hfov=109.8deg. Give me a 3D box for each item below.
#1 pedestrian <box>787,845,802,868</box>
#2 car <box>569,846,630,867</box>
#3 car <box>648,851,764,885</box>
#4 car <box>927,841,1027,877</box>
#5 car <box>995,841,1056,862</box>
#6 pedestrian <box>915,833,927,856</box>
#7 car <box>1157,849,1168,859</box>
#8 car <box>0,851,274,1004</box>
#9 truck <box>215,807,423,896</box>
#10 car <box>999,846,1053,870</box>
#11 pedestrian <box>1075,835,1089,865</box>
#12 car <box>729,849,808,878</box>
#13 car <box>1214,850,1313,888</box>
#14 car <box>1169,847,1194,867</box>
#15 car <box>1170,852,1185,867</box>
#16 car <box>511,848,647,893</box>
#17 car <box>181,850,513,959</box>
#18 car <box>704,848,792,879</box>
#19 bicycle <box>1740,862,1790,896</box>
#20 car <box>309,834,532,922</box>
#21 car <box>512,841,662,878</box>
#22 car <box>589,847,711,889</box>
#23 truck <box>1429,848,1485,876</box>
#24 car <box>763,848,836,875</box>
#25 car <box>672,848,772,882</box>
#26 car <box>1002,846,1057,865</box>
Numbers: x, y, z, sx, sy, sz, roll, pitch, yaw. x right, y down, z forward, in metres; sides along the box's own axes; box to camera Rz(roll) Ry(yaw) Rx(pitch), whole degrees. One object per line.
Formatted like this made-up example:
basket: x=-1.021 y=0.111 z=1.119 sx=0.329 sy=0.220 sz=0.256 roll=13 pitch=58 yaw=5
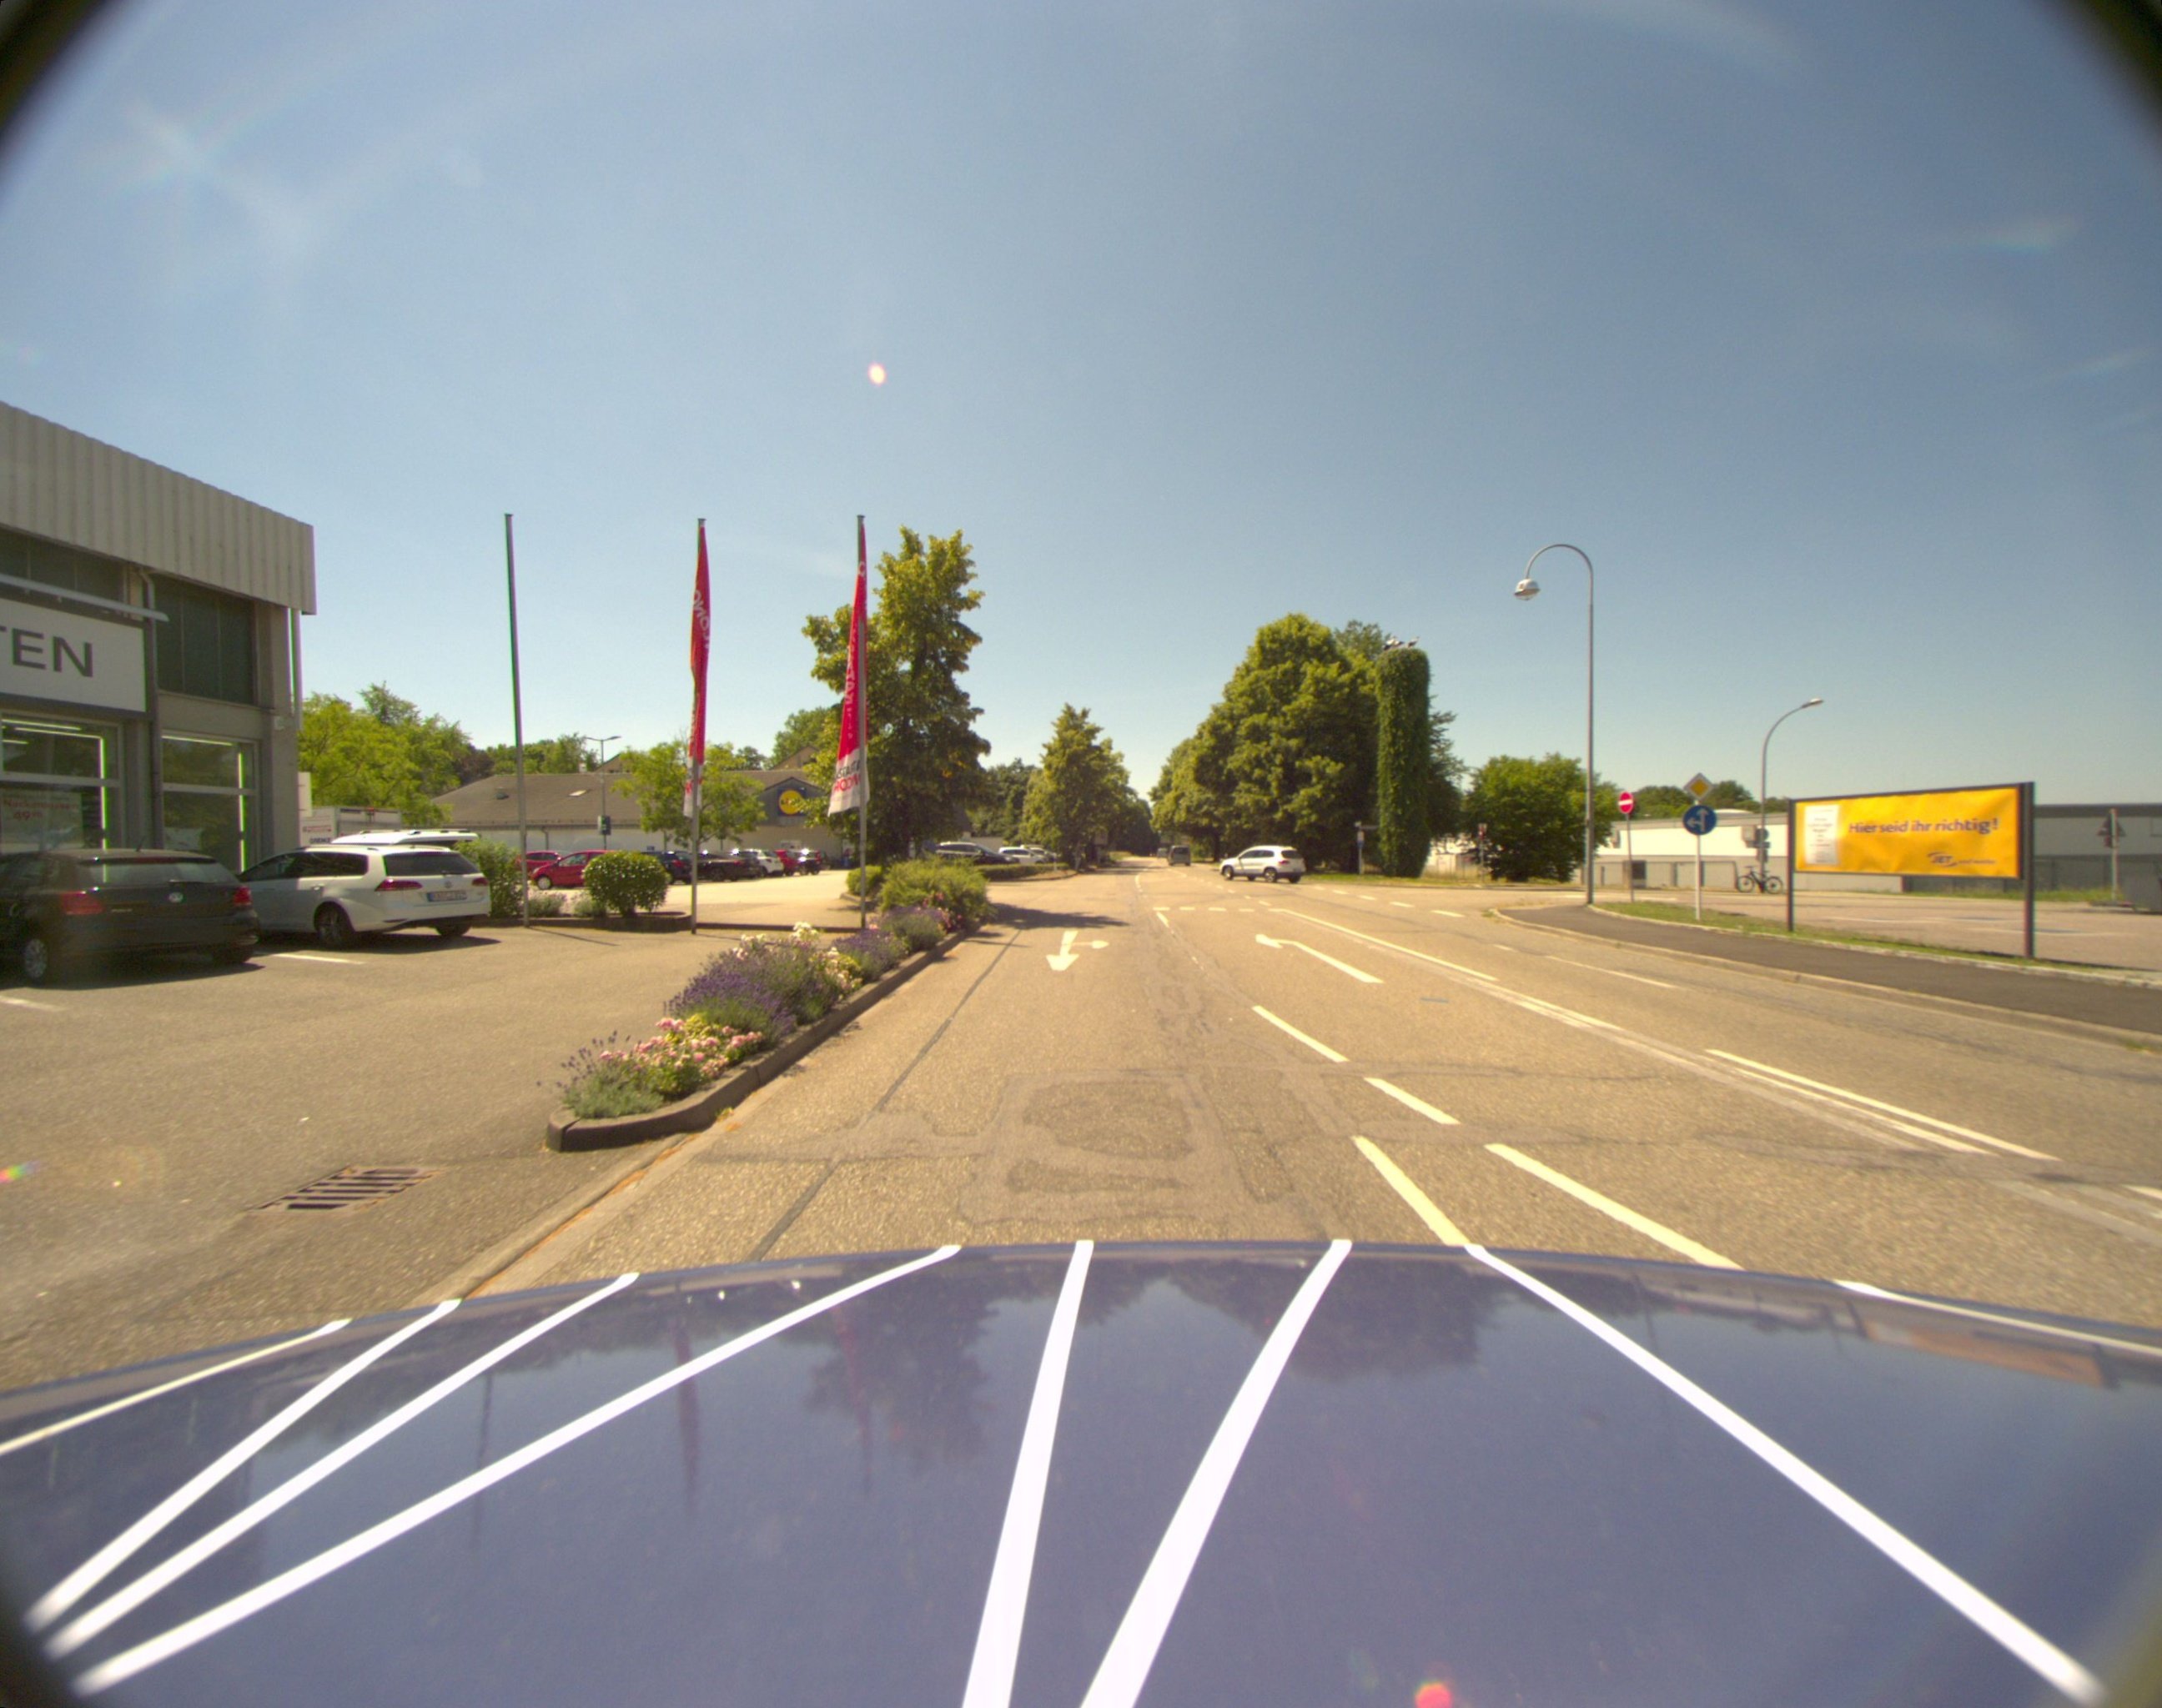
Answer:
pedestrian: x=-19.826 y=0.187 z=52.609 sx=0.803 sy=1.543 sz=0.558 roll=-1 pitch=2 yaw=2
car: x=-35.460 y=0.170 z=56.076 sx=1.999 sy=1.543 sz=3.999 roll=0 pitch=1 yaw=-1
car: x=-16.891 y=0.606 z=34.343 sx=4.253 sy=1.383 sz=1.901 roll=-1 pitch=2 yaw=0
car: x=-5.140 y=0.222 z=37.834 sx=4.523 sy=1.658 sz=1.895 roll=-1 pitch=1 yaw=7
car: x=-4.034 y=-0.210 z=55.514 sx=4.321 sy=1.472 sz=1.809 roll=-1 pitch=1 yaw=0
pedestrian: x=-12.117 y=-0.747 z=57.525 sx=0.699 sy=1.744 sz=0.785 roll=-1 pitch=2 yaw=5
car: x=15.610 y=-0.012 z=145.232 sx=1.882 sy=1.823 sz=5.299 roll=0 pitch=1 yaw=4
car: x=-12.112 y=0.754 z=9.160 sx=3.859 sy=1.524 sz=1.680 roll=0 pitch=2 yaw=17
truck: x=-26.936 y=-0.070 z=26.919 sx=5.942 sy=2.932 sz=2.425 roll=0 pitch=1 yaw=14
car: x=-3.624 y=0.261 z=50.443 sx=3.406 sy=1.498 sz=1.582 roll=-1 pitch=1 yaw=1
pedestrian: x=0.074 y=-0.233 z=46.112 sx=0.730 sy=1.779 sz=0.621 roll=-1 pitch=2 yaw=12
car: x=-17.311 y=0.490 z=42.164 sx=3.605 sy=1.449 sz=1.746 roll=-2 pitch=1 yaw=3
car: x=8.571 y=0.666 z=35.945 sx=1.979 sy=1.663 sz=4.236 roll=-1 pitch=1 yaw=-37
car: x=9.013 y=0.248 z=68.369 sx=1.800 sy=1.762 sz=4.364 roll=0 pitch=1 yaw=2
car: x=12.272 y=0.620 z=96.378 sx=1.826 sy=1.771 sz=4.784 roll=1 pitch=1 yaw=9
car: x=-19.126 y=0.605 z=29.084 sx=3.998 sy=1.523 sz=1.651 roll=-2 pitch=2 yaw=-2
car: x=-11.251 y=0.694 z=11.735 sx=3.992 sy=1.452 sz=1.807 roll=0 pitch=2 yaw=14
car: x=-17.368 y=0.490 z=39.781 sx=3.731 sy=1.495 sz=1.819 roll=-2 pitch=1 yaw=3
bicycle: x=28.357 y=1.029 z=31.497 sx=1.539 sy=1.341 sz=0.395 roll=0 pitch=2 yaw=9
car: x=-15.989 y=0.473 z=18.756 sx=1.710 sy=1.880 sz=4.255 roll=-1 pitch=2 yaw=0
car: x=-22.635 y=0.234 z=34.952 sx=5.528 sy=1.632 sz=1.999 roll=-1 pitch=1 yaw=0
car: x=-18.097 y=0.571 z=32.004 sx=4.030 sy=1.554 sz=1.808 roll=-2 pitch=2 yaw=2
truck: x=41.503 y=0.769 z=84.271 sx=2.690 sy=2.780 sz=10.164 roll=-1 pitch=1 yaw=9
car: x=-16.482 y=0.422 z=44.545 sx=3.605 sy=1.409 sz=1.672 roll=-2 pitch=1 yaw=3
car: x=-17.534 y=0.541 z=37.213 sx=4.027 sy=1.469 sz=1.728 roll=-2 pitch=2 yaw=4
car: x=-4.109 y=0.108 z=61.228 sx=4.241 sy=1.403 sz=1.953 roll=-1 pitch=1 yaw=0
